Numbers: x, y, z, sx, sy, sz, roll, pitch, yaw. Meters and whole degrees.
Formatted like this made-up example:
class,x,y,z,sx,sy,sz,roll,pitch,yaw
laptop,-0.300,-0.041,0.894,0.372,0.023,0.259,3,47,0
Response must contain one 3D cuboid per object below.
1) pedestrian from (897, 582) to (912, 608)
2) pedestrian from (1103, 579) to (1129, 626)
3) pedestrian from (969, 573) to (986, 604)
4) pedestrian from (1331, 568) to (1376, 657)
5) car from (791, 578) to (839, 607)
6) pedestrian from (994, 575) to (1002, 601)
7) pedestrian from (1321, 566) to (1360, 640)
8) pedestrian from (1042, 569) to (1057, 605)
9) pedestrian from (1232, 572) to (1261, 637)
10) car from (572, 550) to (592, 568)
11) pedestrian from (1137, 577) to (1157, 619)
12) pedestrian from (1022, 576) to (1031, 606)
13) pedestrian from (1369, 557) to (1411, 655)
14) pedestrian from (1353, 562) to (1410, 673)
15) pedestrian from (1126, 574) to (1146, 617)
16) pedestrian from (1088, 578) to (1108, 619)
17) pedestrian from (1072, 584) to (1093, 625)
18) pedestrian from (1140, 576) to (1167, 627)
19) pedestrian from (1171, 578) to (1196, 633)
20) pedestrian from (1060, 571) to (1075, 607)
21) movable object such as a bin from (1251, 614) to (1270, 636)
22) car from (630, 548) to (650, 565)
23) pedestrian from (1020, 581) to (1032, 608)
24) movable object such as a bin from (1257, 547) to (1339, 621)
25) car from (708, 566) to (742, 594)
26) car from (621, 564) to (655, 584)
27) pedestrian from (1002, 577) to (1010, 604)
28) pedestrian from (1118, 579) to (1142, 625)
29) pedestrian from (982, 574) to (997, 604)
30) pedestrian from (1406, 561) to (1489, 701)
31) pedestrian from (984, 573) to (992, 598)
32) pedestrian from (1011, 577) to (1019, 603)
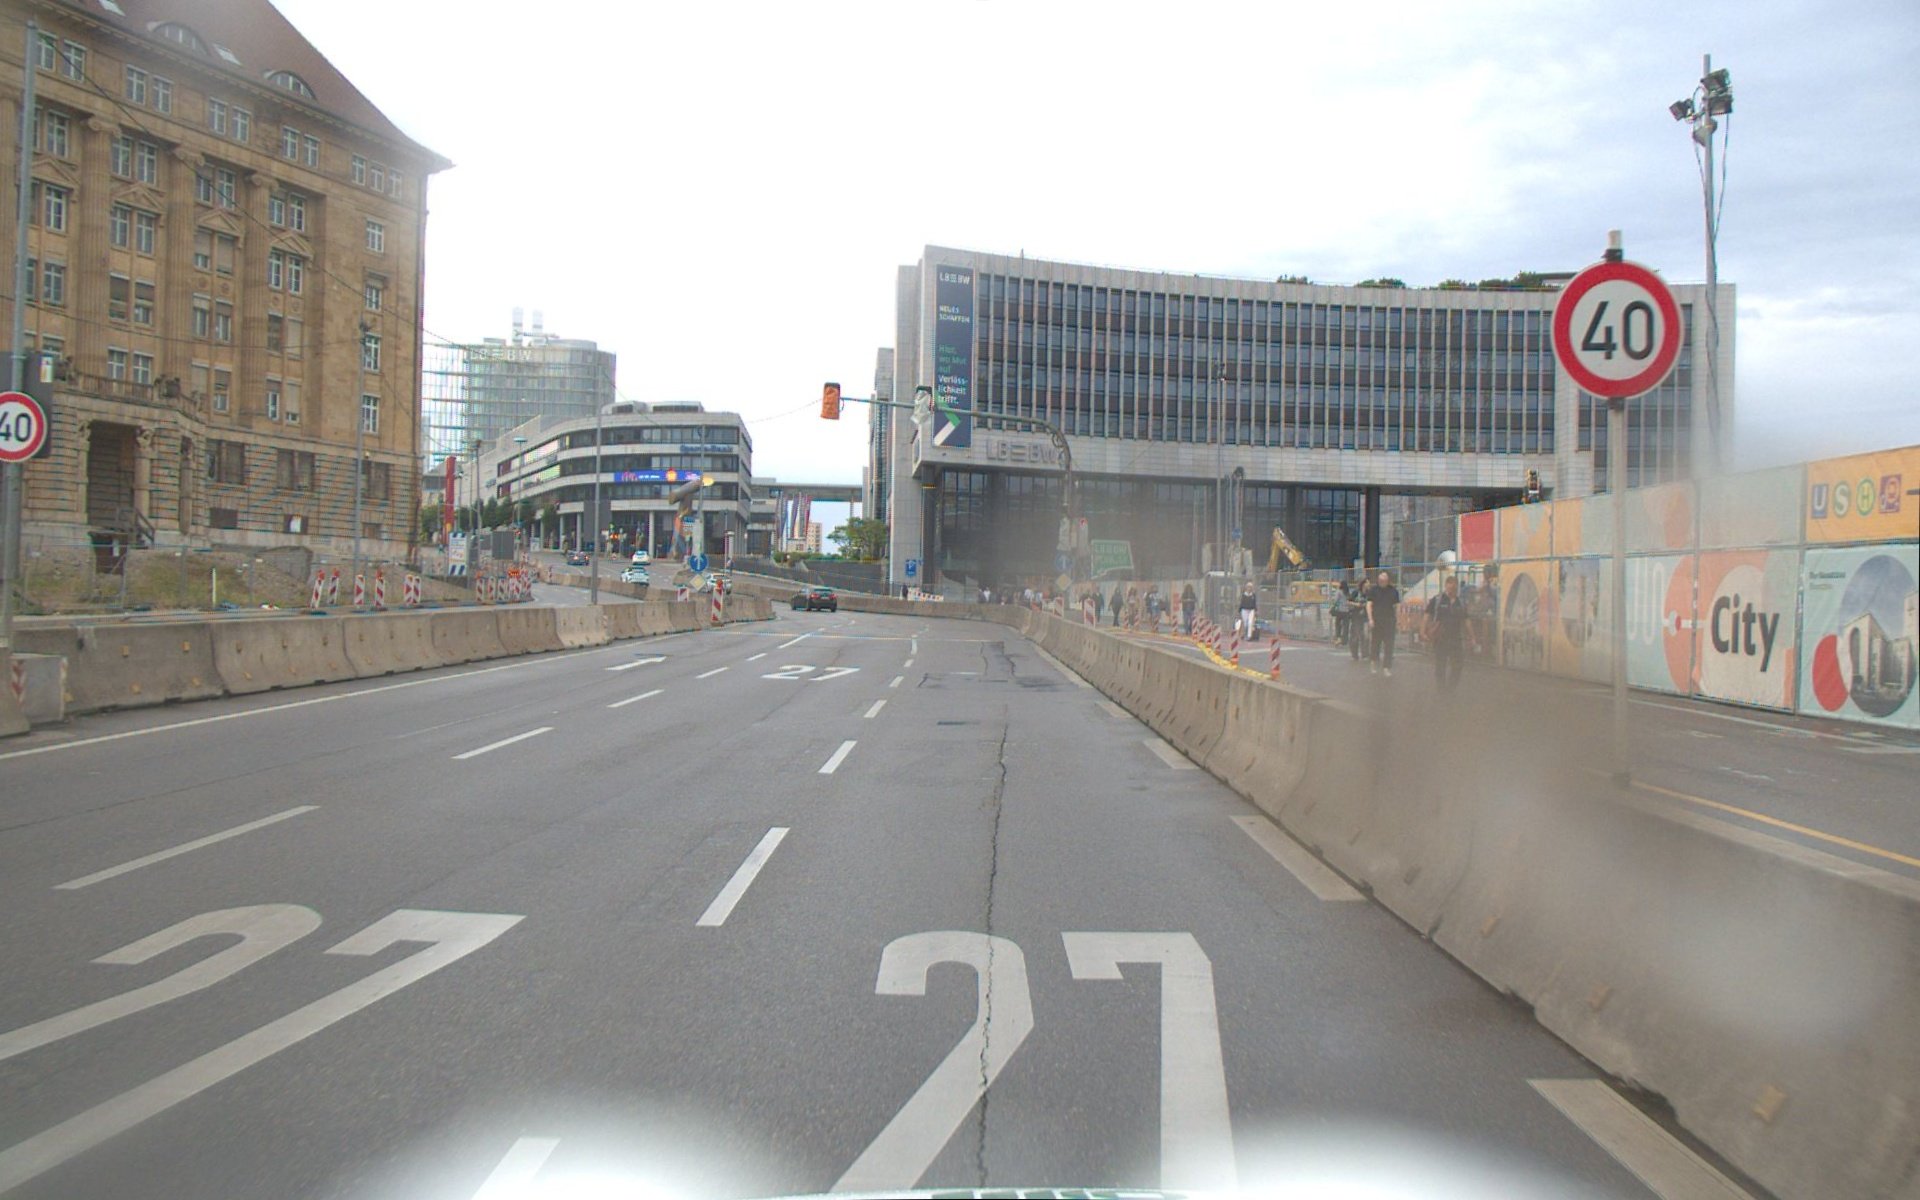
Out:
class,x,y,z,sx,sy,sz,roll,pitch,yaw
pedestrian,-3.975,-0.390,118.246,0.746,1.821,1.050,1,0,-22
pedestrian,6.428,0.091,68.236,0.853,1.894,0.948,1,1,-5
pedestrian,0.966,-0.637,92.215,0.738,1.670,0.821,1,1,-13
pedestrian,8.328,0.262,34.988,0.780,1.866,0.626,1,0,1
car,-8.471,-0.433,96.303,1.653,1.534,3.716,2,-2,-25
pedestrian,2.580,-0.812,113.422,0.444,1.734,0.646,1,1,-6
pedestrian,9.847,0.066,42.776,0.771,1.894,0.682,1,0,-5
pedestrian,5.186,-0.777,95.969,0.767,2.048,0.863,1,1,5
pedestrian,8.553,0.128,49.433,0.651,1.894,0.682,1,0,-5
car,-40.910,-4.438,179.050,1.960,1.835,4.249,1,1,-15
pedestrian,8.565,-0.102,75.635,0.764,1.894,0.811,0,1,-5
pedestrian,4.186,-0.565,104.419,0.518,1.850,0.536,1,1,-1
pedestrian,9.134,0.114,35.158,0.665,2.048,0.687,1,1,0
pedestrian,7.403,0.303,29.081,0.780,1.910,0.820,1,0,1
pedestrian,7.765,-0.200,73.106,0.718,1.886,0.831,1,0,-3
pedestrian,6.415,-0.085,77.077,0.764,1.894,0.811,1,0,-5
pedestrian,5.612,0.218,75.977,0.803,1.859,1.110,0,0,-4
pedestrian,7.210,0.046,61.679,0.764,1.894,0.948,1,1,-5
pedestrian,7.832,0.194,57.943,0.676,1.894,0.811,1,0,-5
pedestrian,6.249,-0.638,95.893,0.767,2.048,0.863,1,1,5
movable object such as a bin,9.044,0.750,49.755,0.425,0.635,0.534,1,1,-5
car,-35.468,-4.819,183.301,1.960,1.835,4.249,1,1,-15
pedestrian,4.224,-0.372,106.144,0.507,1.734,0.567,1,1,-38
movable object such as a bin,19.412,-0.913,95.164,3.046,4.100,3.669,1,0,-24
car,-17.032,-1.458,119.809,1.713,1.908,3.755,1,1,-20
car,-25.518,-2.091,131.094,1.720,1.532,3.722,1,0,-26
pedestrian,3.035,-0.610,108.322,0.439,1.734,0.647,1,1,-1
pedestrian,7.177,0.074,69.918,0.764,1.894,1.057,1,1,-5
pedestrian,1.643,-0.627,92.375,0.647,1.670,0.821,1,1,-13
pedestrian,6.648,0.409,22.586,0.906,1.866,0.686,1,0,1
pedestrian,1.940,-0.996,113.268,0.439,1.734,0.646,1,1,-6
pedestrian,3.601,-0.652,107.679,0.438,1.734,0.647,1,1,7
